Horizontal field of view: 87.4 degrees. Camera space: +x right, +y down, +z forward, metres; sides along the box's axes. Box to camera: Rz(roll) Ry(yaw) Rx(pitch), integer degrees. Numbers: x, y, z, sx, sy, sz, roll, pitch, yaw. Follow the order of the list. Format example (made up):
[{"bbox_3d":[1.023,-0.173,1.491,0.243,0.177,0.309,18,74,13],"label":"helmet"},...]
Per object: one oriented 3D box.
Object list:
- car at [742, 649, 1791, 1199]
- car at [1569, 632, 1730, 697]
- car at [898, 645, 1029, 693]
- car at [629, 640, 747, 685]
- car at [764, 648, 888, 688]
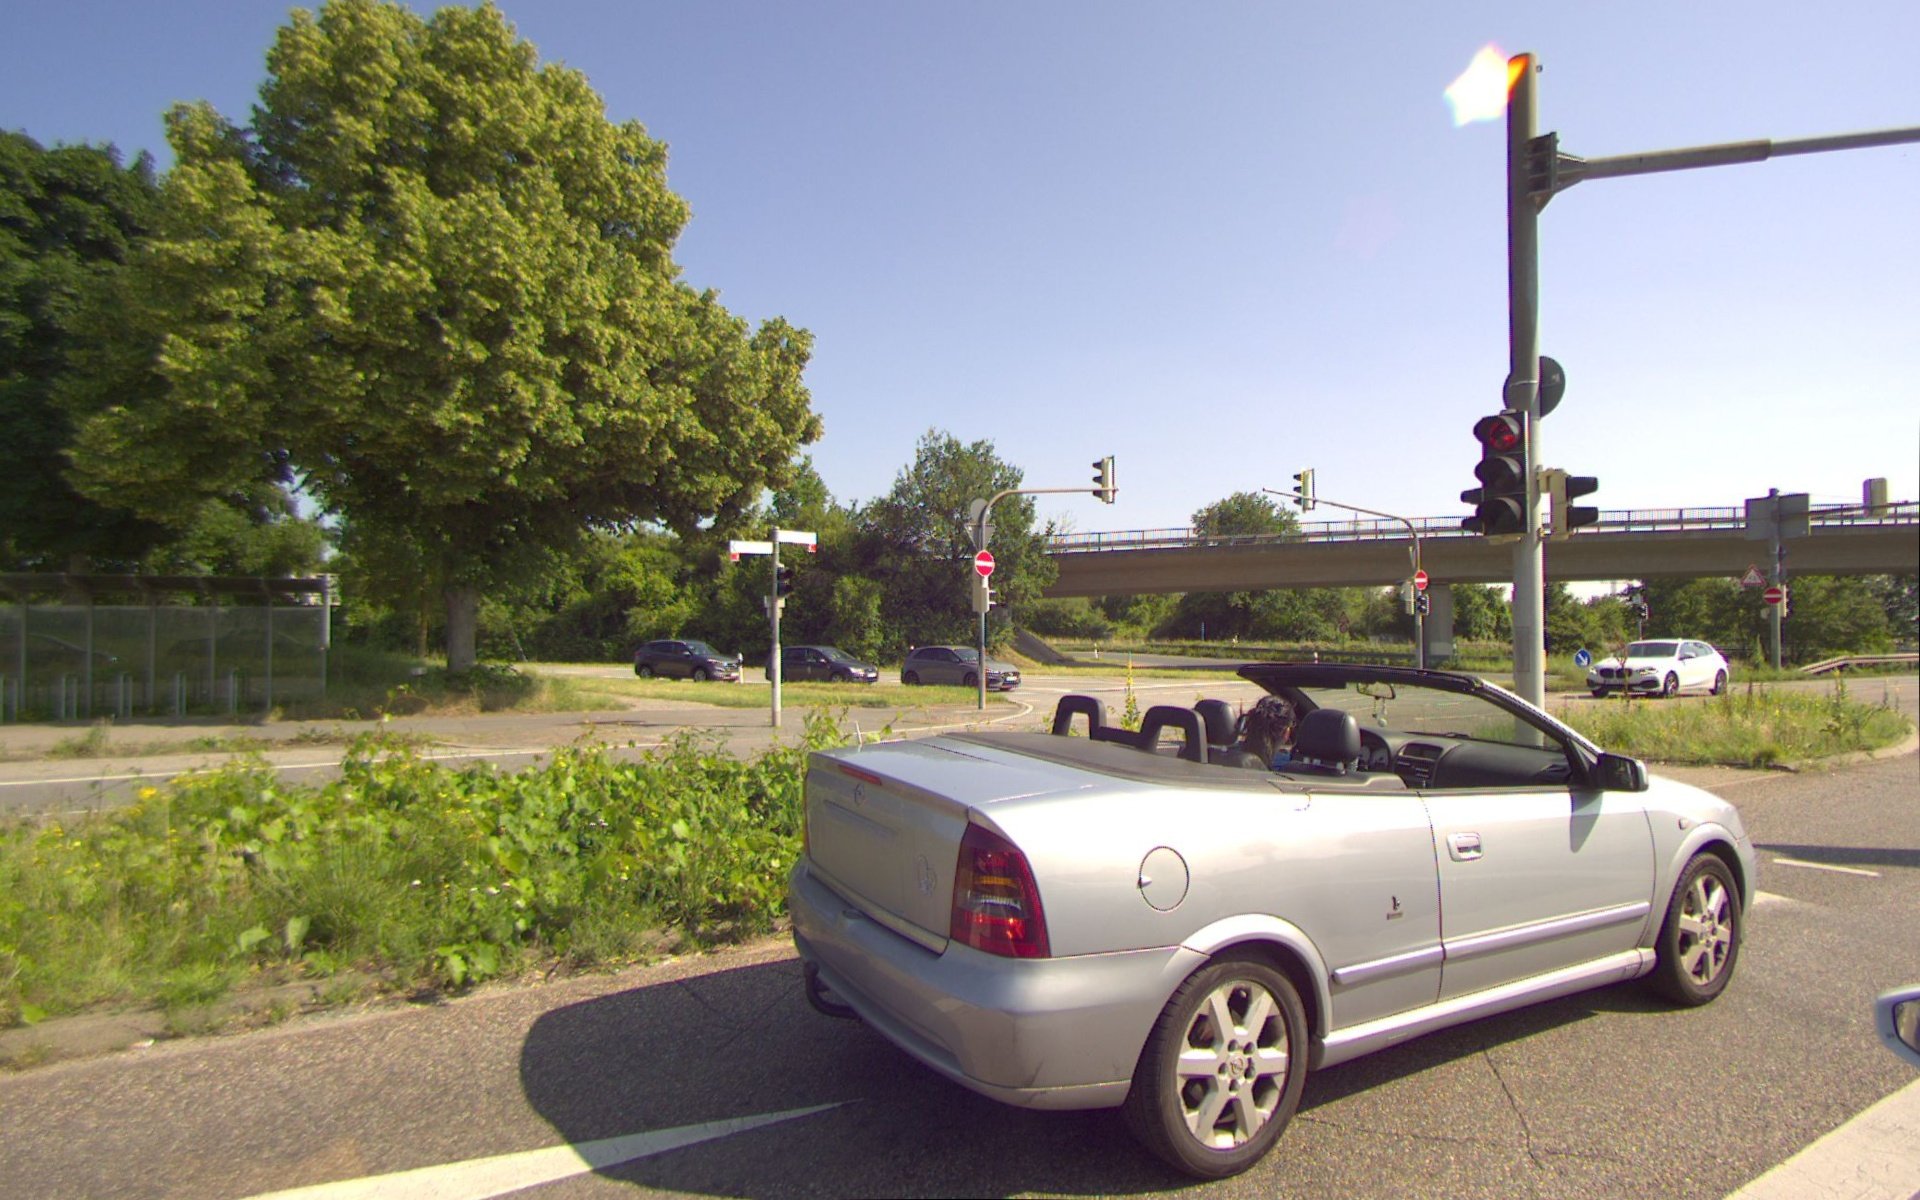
[{"bbox_3d":[1.357,0.891,3.976,4.049,1.352,1.666,1,-2,-30],"label":"car"},{"bbox_3d":[17.789,1.646,25.885,4.101,1.534,1.874,1,-5,-31],"label":"car"},{"bbox_3d":[0.076,2.197,32.562,4.066,1.443,1.862,-2,-3,41],"label":"car"},{"bbox_3d":[-10.351,2.356,38.209,4.272,1.616,1.650,-1,-2,25],"label":"car"},{"bbox_3d":[-4.799,2.385,35.720,4.277,1.297,1.648,-1,-2,30],"label":"car"}]
